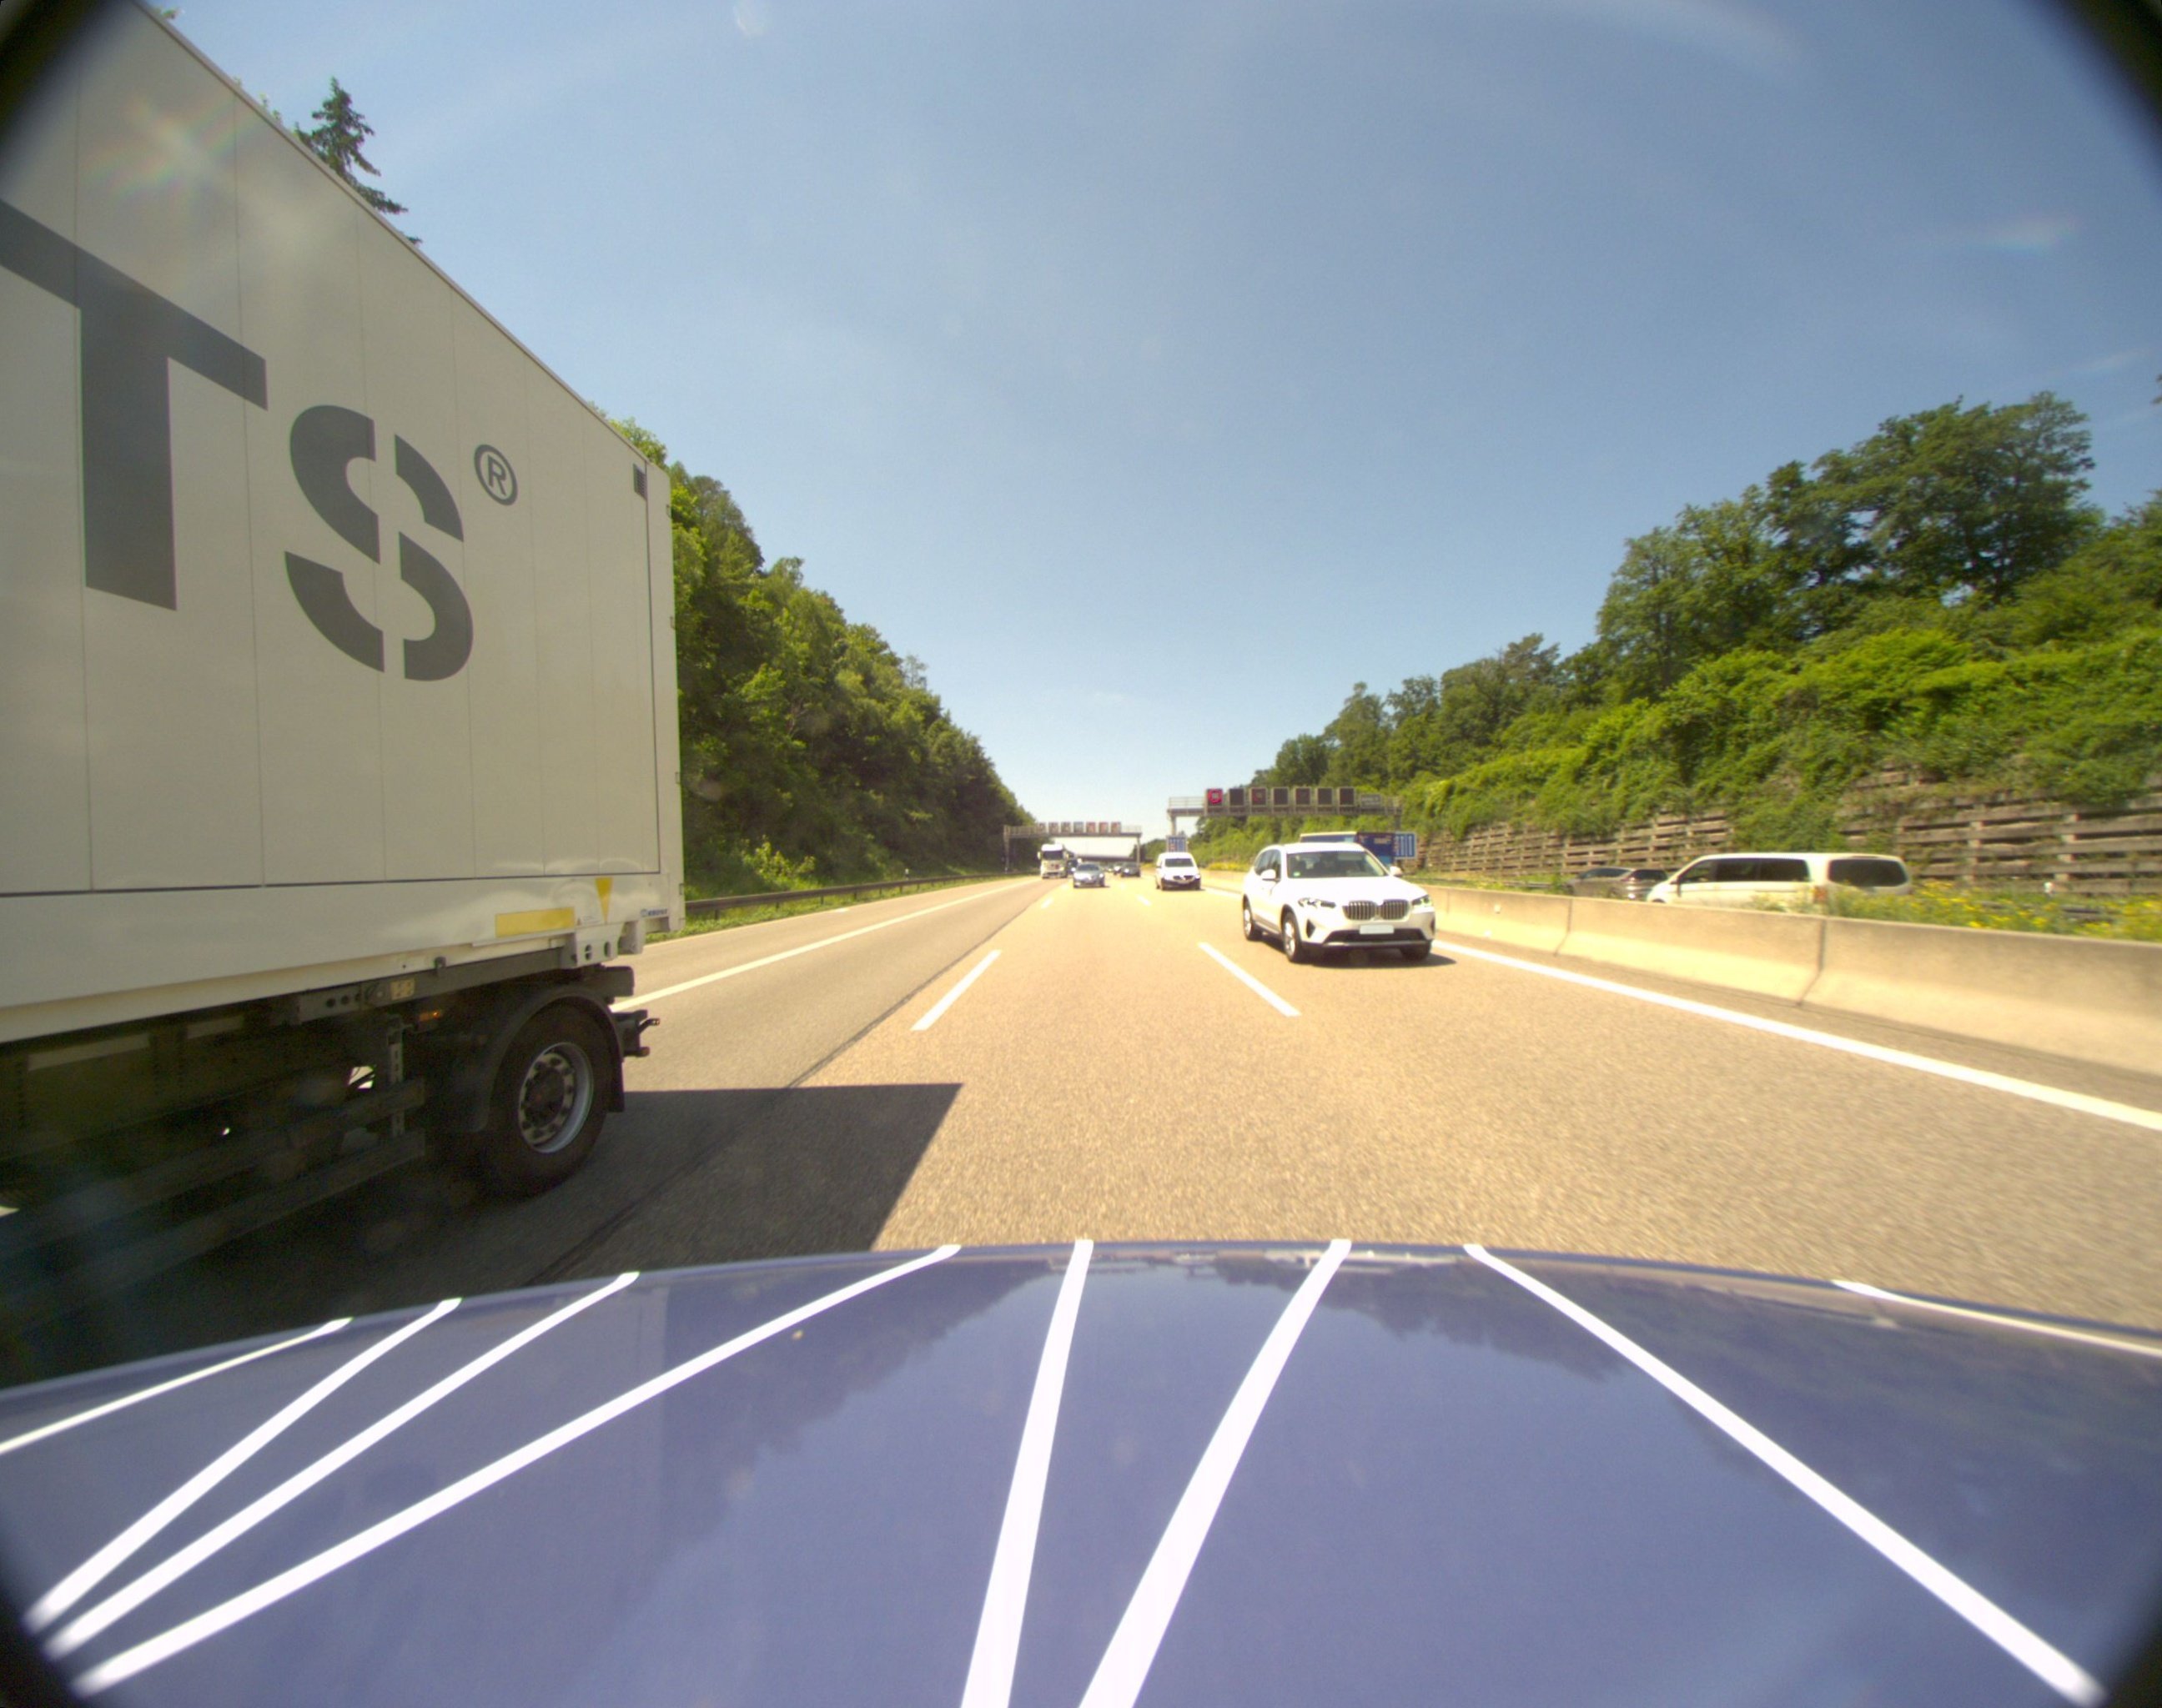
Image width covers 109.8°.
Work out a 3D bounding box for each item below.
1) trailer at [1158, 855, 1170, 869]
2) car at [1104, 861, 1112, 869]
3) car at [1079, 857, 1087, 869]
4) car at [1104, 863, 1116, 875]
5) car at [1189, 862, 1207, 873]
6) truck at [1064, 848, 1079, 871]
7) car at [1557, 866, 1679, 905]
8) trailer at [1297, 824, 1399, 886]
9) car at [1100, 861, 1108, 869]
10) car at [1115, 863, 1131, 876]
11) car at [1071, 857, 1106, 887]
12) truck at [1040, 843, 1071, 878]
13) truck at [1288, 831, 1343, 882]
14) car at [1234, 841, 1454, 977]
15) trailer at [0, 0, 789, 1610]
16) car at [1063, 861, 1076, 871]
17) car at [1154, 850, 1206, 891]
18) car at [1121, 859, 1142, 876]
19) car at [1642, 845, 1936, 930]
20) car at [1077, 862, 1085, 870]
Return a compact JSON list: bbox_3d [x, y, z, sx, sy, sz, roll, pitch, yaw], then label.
[{"bbox_3d":[25.913,2.522,236.489,2.985,4.182,14.470,1,-1,4],"label":"trailer"},{"bbox_3d":[6.397,2.612,180.541,1.924,1.848,4.001,-3,-1,2],"label":"car"},{"bbox_3d":[0.619,2.660,226.420,1.924,3.522,4.825,-3,-1,2],"label":"car"},{"bbox_3d":[5.175,2.648,134.686,1.924,1.848,4.001,-3,-1,2],"label":"car"},{"bbox_3d":[16.040,1.842,104.306,1.903,1.516,4.374,0,-1,1],"label":"car"},{"bbox_3d":[-1.892,1.204,160.219,2.627,4.364,13.089,-3,-1,0],"label":"truck"},{"bbox_3d":[21.963,1.253,31.379,1.662,1.444,4.923,-1,-1,2],"label":"car"},{"bbox_3d":[19.477,0.167,56.827,2.687,3.991,14.190,-1,-1,0],"label":"trailer"},{"bbox_3d":[6.245,2.965,206.181,1.924,1.848,4.001,-3,-1,2],"label":"car"},{"bbox_3d":[5.292,1.965,97.135,1.770,1.504,4.000,-3,-1,0],"label":"car"},{"bbox_3d":[0.480,1.023,44.092,1.843,1.517,4.502,-3,-1,2],"label":"car"},{"bbox_3d":[-2.721,0.737,85.364,2.844,3.517,13.089,-3,-1,0],"label":"truck"},{"bbox_3d":[19.532,0.244,63.644,2.687,4.006,5.932,-1,-1,0],"label":"truck"},{"bbox_3d":[3.744,0.732,11.736,1.850,1.634,4.369,-2,-1,0],"label":"car"},{"bbox_3d":[-3.873,-0.317,1.253,2.687,4.151,10.066,-2,-1,1],"label":"trailer"},{"bbox_3d":[-1.676,1.789,114.518,1.770,1.504,4.000,-3,-1,0],"label":"car"},{"bbox_3d":[4.710,0.794,36.797,1.998,1.764,4.502,-3,-1,2],"label":"car"},{"bbox_3d":[4.887,1.324,73.985,1.770,1.504,4.726,-3,-1,0],"label":"car"},{"bbox_3d":[15.294,0.666,16.935,1.897,1.597,5.078,-1,-1,2],"label":"car"},{"bbox_3d":[-0.004,3.265,206.649,1.924,1.848,4.001,-3,-1,2],"label":"car"}]
